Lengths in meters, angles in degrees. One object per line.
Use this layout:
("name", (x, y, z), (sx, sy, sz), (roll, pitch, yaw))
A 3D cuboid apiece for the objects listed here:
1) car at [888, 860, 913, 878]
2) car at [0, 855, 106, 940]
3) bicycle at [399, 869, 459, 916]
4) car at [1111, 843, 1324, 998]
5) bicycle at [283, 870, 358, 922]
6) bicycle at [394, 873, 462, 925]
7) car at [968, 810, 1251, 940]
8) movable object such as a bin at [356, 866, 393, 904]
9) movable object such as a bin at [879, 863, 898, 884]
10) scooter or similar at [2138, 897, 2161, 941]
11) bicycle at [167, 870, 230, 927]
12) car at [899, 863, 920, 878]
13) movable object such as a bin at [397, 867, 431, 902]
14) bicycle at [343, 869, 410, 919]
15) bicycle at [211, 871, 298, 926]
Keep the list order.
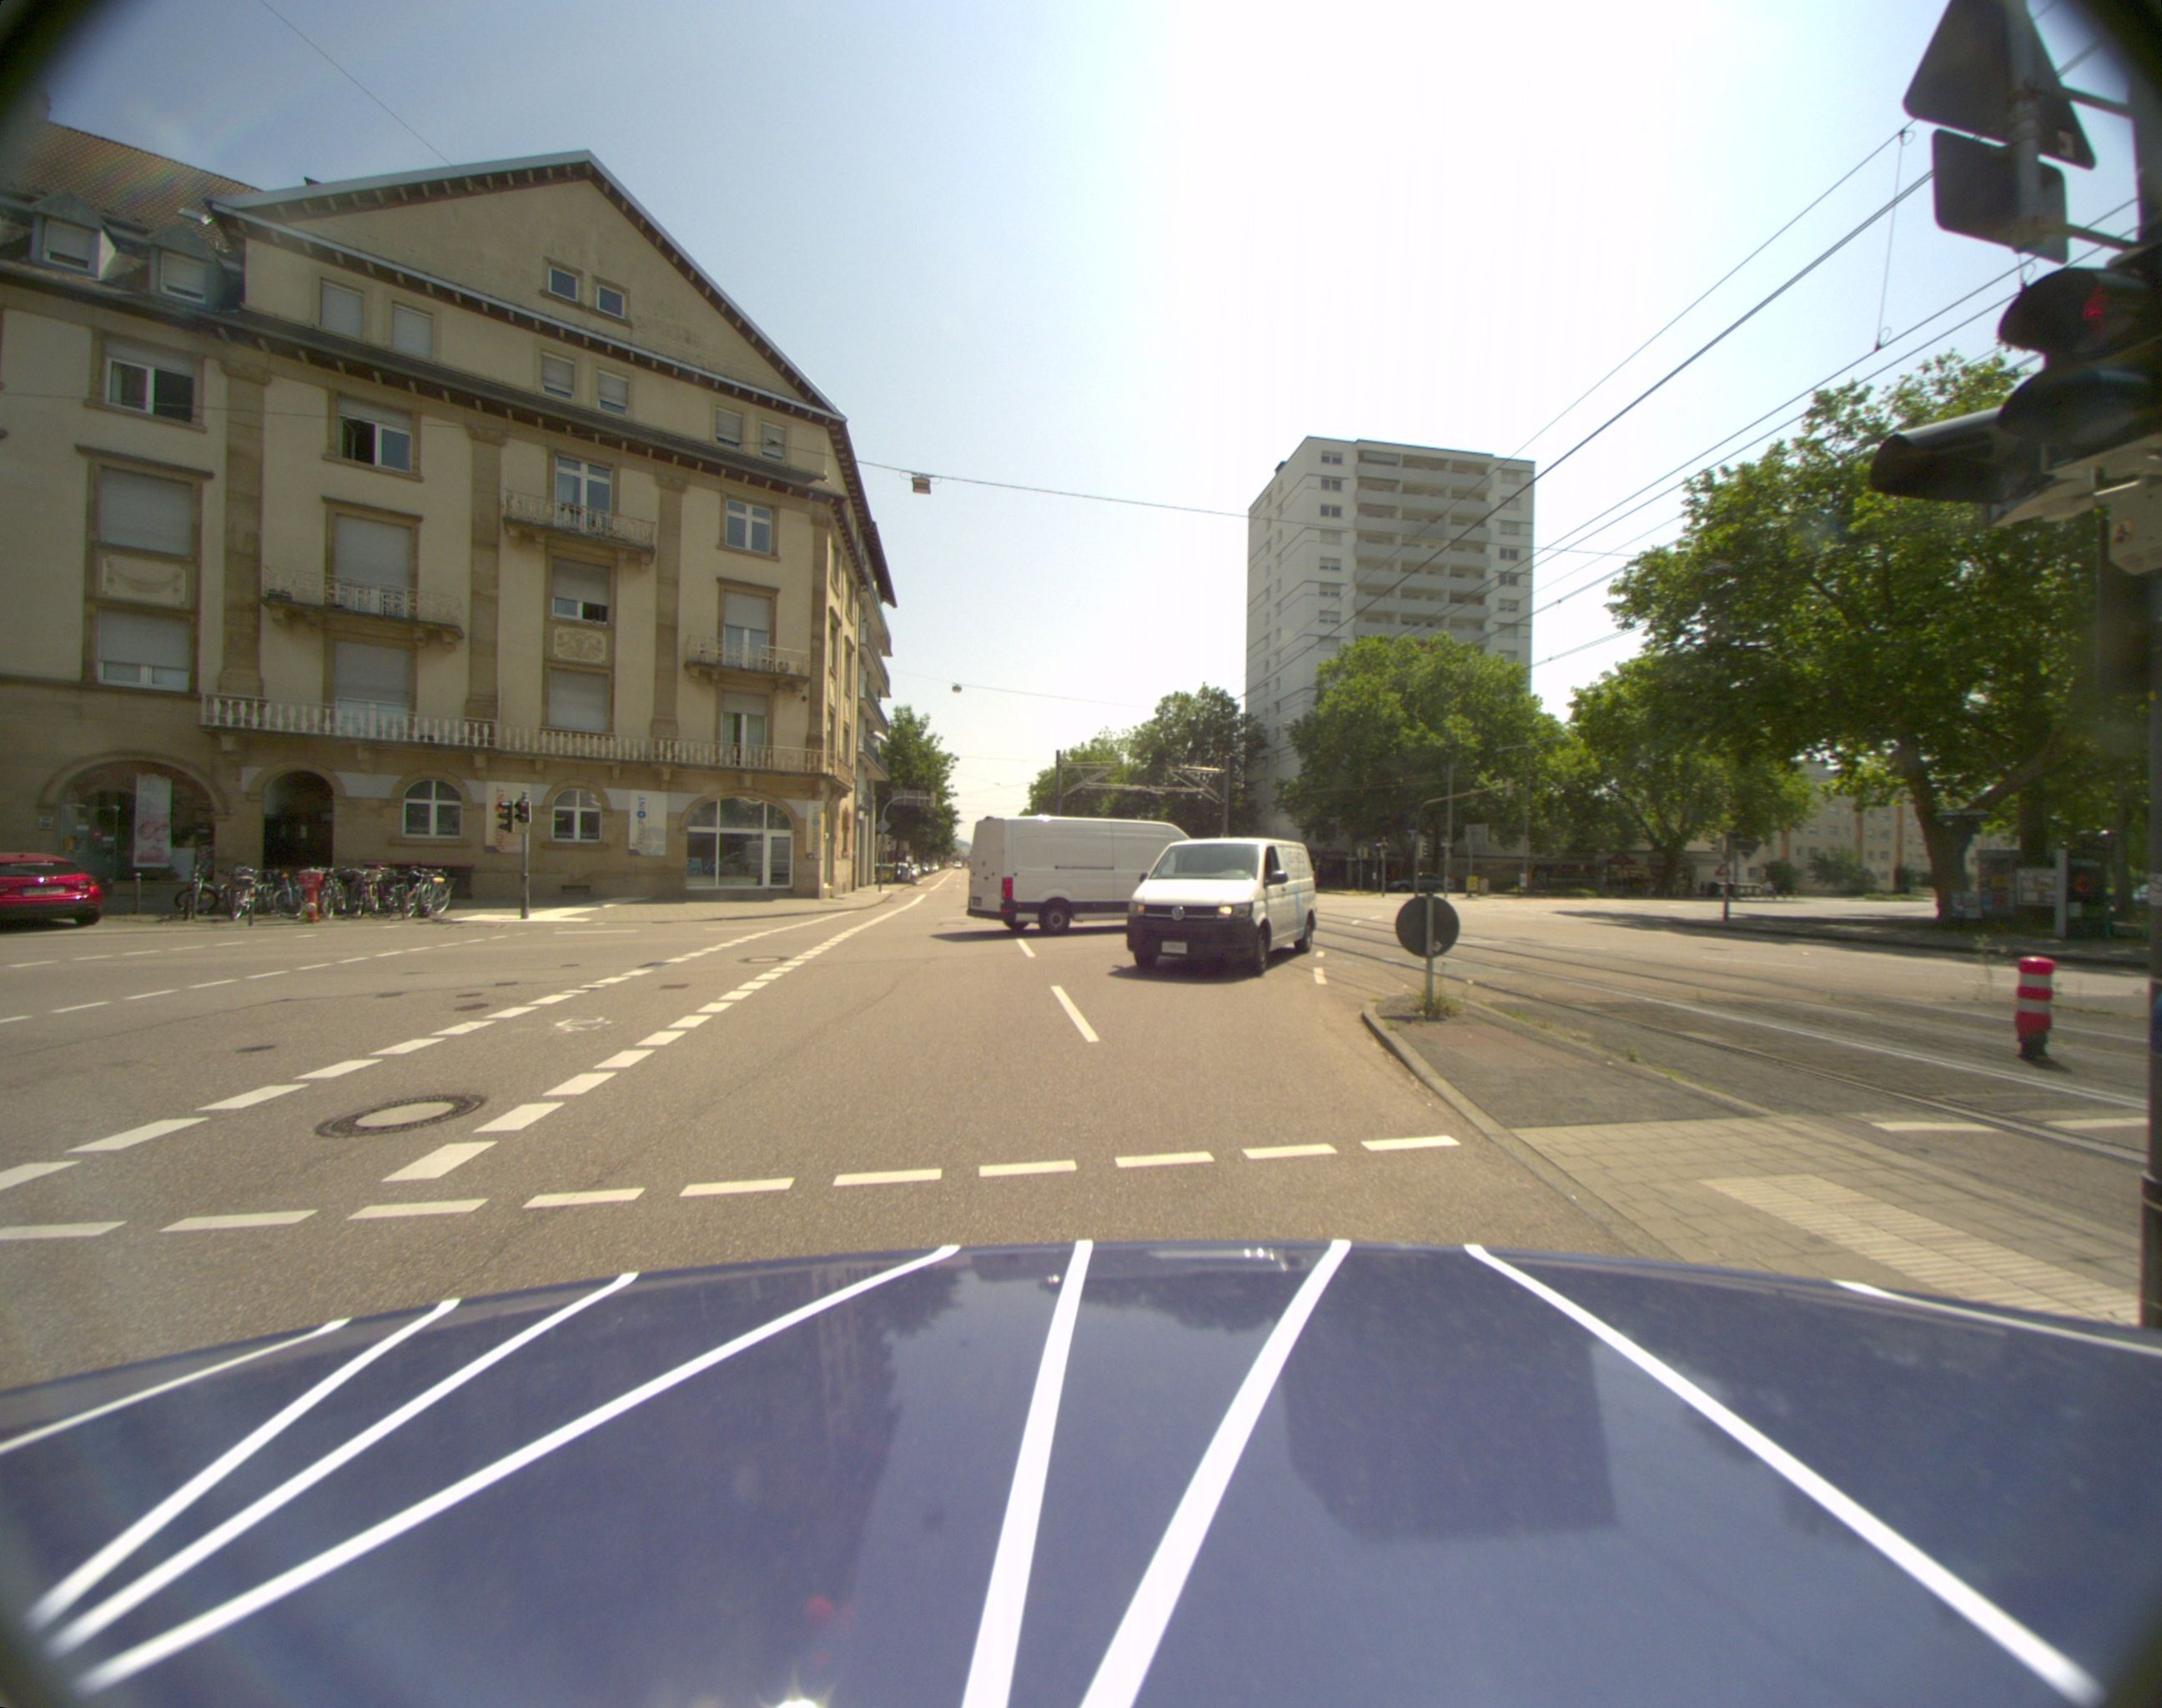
("car", (-15.753, 1.258, 66.485), (2.001, 1.522, 3.996), (0, 0, -12))
("car", (-21.705, 0.824, 15.223), (3.219, 1.471, 1.618), (2, 2, 18))
("bicycle", (-17.321, 0.997, 20.226), (0.566, 1.145, 1.802), (0, 1, -19))
("car", (2.431, 0.873, 12.142), (1.848, 1.942, 4.953), (1, -1, 29))
("bicycle", (-18.716, 0.997, 18.748), (0.566, 1.145, 1.802), (0, 1, -19))
("bicycle", (-16.268, 1.093, 18.982), (0.566, 1.145, 2.056), (0, 1, -19))
("car", (0.845, 0.491, 18.002), (6.646, 2.621, 2.072), (1, 0, -32))
("movable object such as a bin", (-20.177, 0.886, 21.722), (0.591, 1.058, 0.669), (0, 0, -25))
("movable object such as a bin", (-13.477, 1.349, 53.186), (1.215, 1.427, 1.007), (0, 0, -10))
("scooter or similar", (27.838, 1.681, 19.450), (0.257, 1.114, 0.977), (0, 0, 4))
("bicycle", (-19.756, 0.965, 17.043), (0.566, 1.145, 1.800), (0, 2, -38))
("car", (-17.817, 1.723, 79.059), (2.001, 1.522, 3.996), (0, 0, -12))
("movable object such as a bin", (-19.425, 0.889, 22.141), (0.591, 0.989, 0.582), (0, 0, -25))
("bicycle", (-18.106, 0.999, 19.571), (0.566, 1.145, 1.802), (0, 1, -19))
("bicycle", (-19.200, 0.994, 17.700), (0.566, 1.145, 1.802), (0, 1, -19))
